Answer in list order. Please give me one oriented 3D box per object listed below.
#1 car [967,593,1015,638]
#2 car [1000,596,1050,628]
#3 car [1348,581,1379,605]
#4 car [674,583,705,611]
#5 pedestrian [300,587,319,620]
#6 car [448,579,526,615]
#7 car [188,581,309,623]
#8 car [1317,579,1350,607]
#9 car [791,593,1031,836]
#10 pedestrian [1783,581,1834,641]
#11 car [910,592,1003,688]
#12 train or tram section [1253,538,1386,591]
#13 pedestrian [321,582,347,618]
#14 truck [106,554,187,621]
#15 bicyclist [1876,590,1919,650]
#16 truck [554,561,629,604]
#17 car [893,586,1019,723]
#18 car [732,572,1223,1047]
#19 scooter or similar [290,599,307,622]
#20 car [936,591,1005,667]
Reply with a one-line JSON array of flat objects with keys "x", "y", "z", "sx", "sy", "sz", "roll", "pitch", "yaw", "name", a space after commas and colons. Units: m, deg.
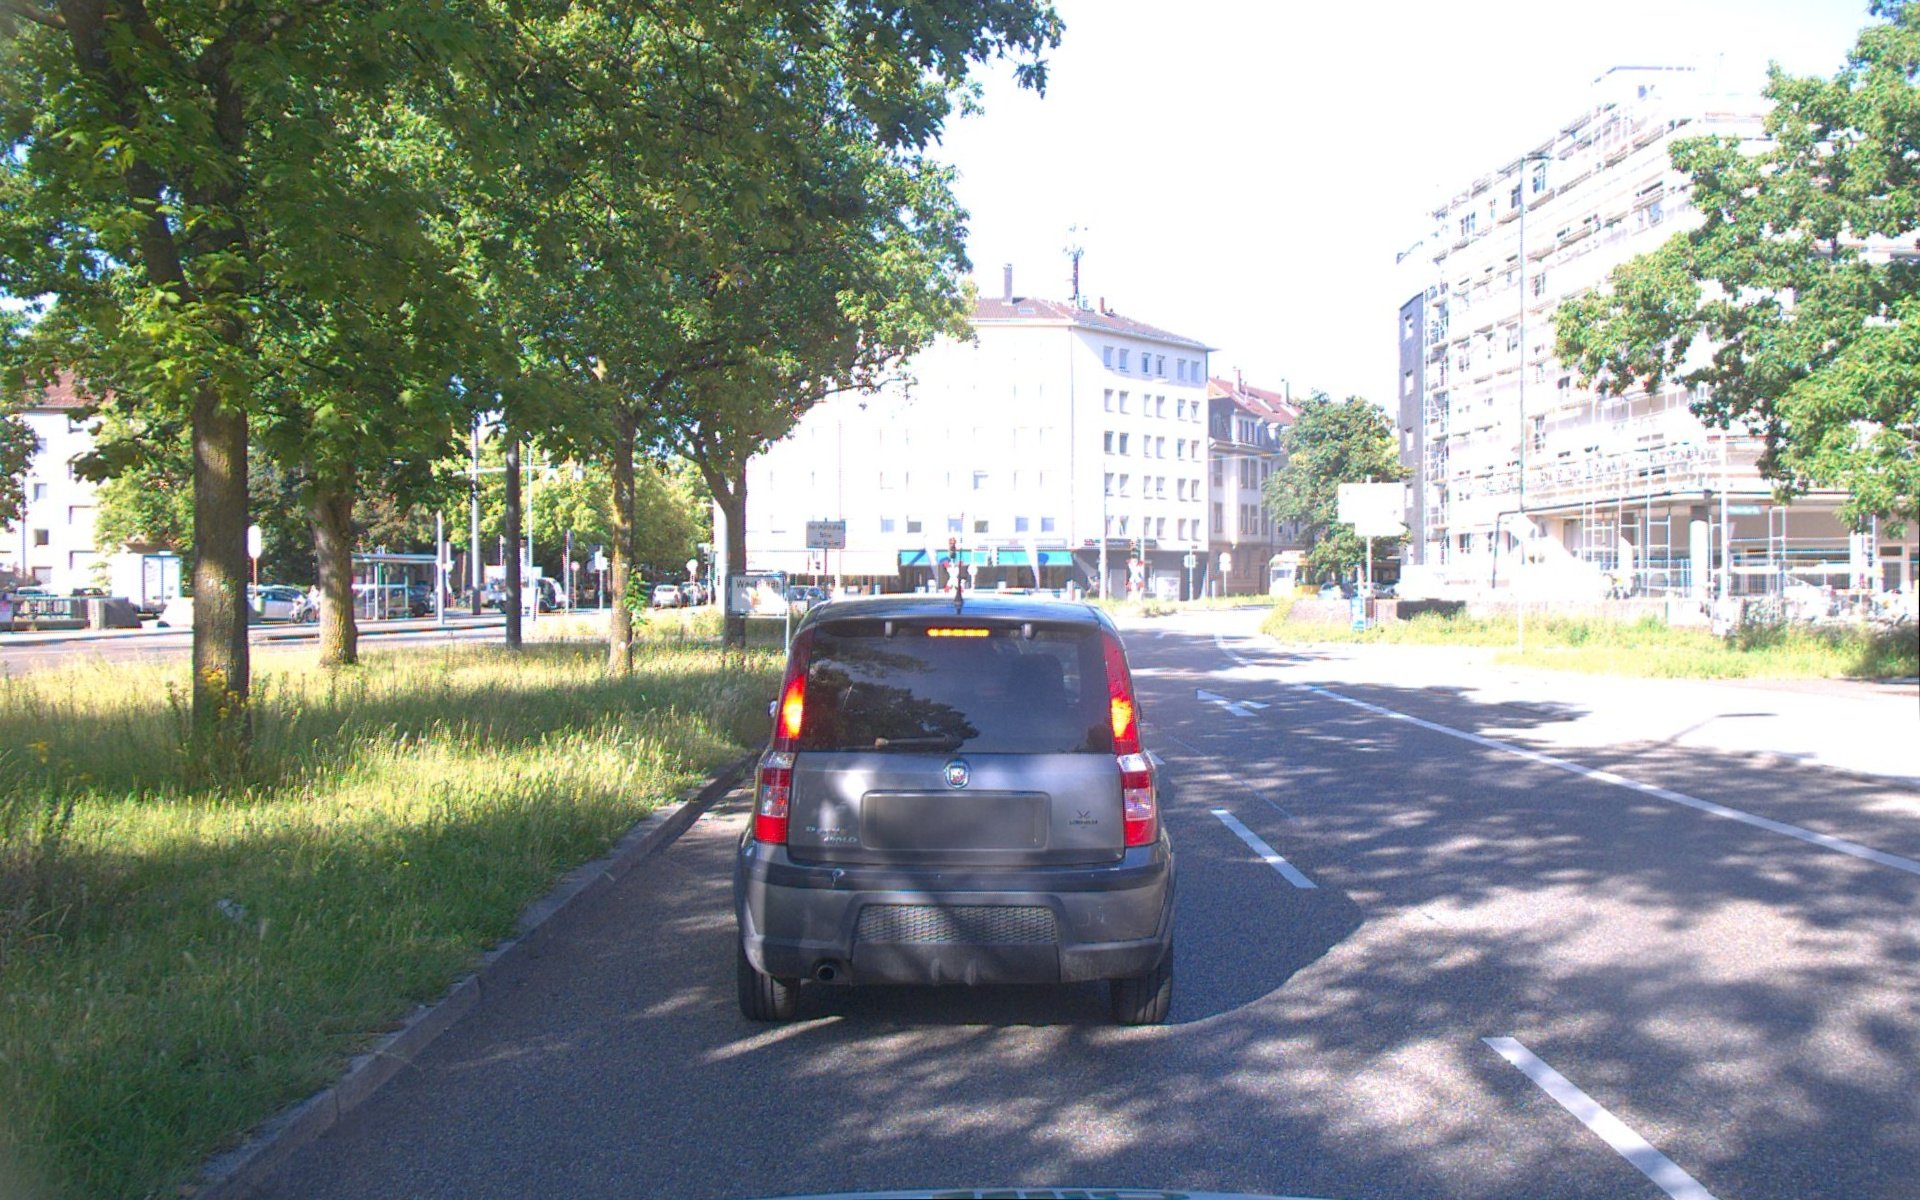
[{"x": 0.916, "y": 0.444, "z": 49.598, "sx": 1.328, "sy": 1.304, "sz": 2.875, "roll": 0, "pitch": 1, "yaw": -1, "name": "car"}, {"x": 2.282, "y": 0.403, "z": 57.694, "sx": 1.118, "sy": 1.083, "sz": 2.723, "roll": 0, "pitch": 1, "yaw": 17, "name": "car"}, {"x": 23.006, "y": -0.391, "z": 94.236, "sx": 1.495, "sy": 1.337, "sz": 3.289, "roll": 0, "pitch": 1, "yaw": 17, "name": "car"}, {"x": -20.159, "y": -0.242, "z": 123.275, "sx": 1.954, "sy": 2.049, "sz": 3.996, "roll": 0, "pitch": 1, "yaw": -5, "name": "car"}, {"x": -27.568, "y": 0.143, "z": 70.068, "sx": 0.407, "sy": 1.415, "sz": 0.626, "roll": 0, "pitch": 0, "yaw": 26, "name": "pedestrian"}, {"x": -27.938, "y": -0.183, "z": 97.827, "sx": 4.093, "sy": 2.049, "sz": 1.930, "roll": 0, "pitch": 0, "yaw": -3, "name": "car"}, {"x": -29.957, "y": 0.048, "z": 69.774, "sx": 1.961, "sy": 1.713, "sz": 4.302, "roll": 0, "pitch": 1, "yaw": 38, "name": "car"}, {"x": 20.501, "y": -0.389, "z": 90.706, "sx": 1.646, "sy": 1.475, "sz": 3.574, "roll": 0, "pitch": 1, "yaw": 15, "name": "car"}, {"x": -0.319, "y": 0.680, "z": 11.620, "sx": 1.434, "sy": 1.425, "sz": 3.393, "roll": 0, "pitch": 1, "yaw": -1, "name": "car"}, {"x": 24.028, "y": 0.301, "z": 46.848, "sx": 0.879, "sy": 1.682, "sz": 0.977, "roll": -1, "pitch": 0, "yaw": -30, "name": "pedestrian"}, {"x": -0.081, "y": 0.609, "z": 27.270, "sx": 1.434, "sy": 1.449, "sz": 3.381, "roll": 0, "pitch": 1, "yaw": -1, "name": "car"}, {"x": 26.522, "y": -2.535, "z": 120.709, "sx": 3.236, "sy": 3.574, "sz": 19.336, "roll": 0, "pitch": 1, "yaw": 32, "name": "train or tram section"}, {"x": -29.238, "y": -0.005, "z": 77.287, "sx": 0.904, "sy": 1.636, "sz": 0.794, "roll": 0, "pitch": 0, "yaw": 38, "name": "pedestrian"}, {"x": -35.747, "y": -0.553, "z": 72.680, "sx": 3.932, "sy": 2.854, "sz": 1.987, "roll": 0, "pitch": 1, "yaw": 44, "name": "truck"}, {"x": 23.190, "y": 0.493, "z": 40.756, "sx": 0.825, "sy": 1.463, "sz": 0.744, "roll": 1, "pitch": -1, "yaw": 0, "name": "bicyclist"}, {"x": -28.364, "y": -1.353, "z": 127.358, "sx": 5.371, "sy": 3.224, "sz": 2.341, "roll": 0, "pitch": 0, "yaw": 28, "name": "truck"}, {"x": -0.073, "y": 0.603, "z": 20.664, "sx": 1.434, "sy": 1.534, "sz": 3.504, "roll": 0, "pitch": 1, "yaw": -1, "name": "car"}, {"x": 0.031, "y": 0.659, "z": 7.404, "sx": 1.595, "sy": 1.534, "sz": 3.999, "roll": 0, "pitch": 1, "yaw": -1, "name": "car"}, {"x": -27.822, "y": 0.439, "z": 69.547, "sx": 0.411, "sy": 0.943, "sz": 0.534, "roll": 0, "pitch": 0, "yaw": 25, "name": "scooter or similar"}, {"x": 0.176, "y": 0.556, "z": 33.853, "sx": 1.328, "sy": 1.475, "sz": 3.265, "roll": 0, "pitch": 0, "yaw": -1, "name": "car"}]
